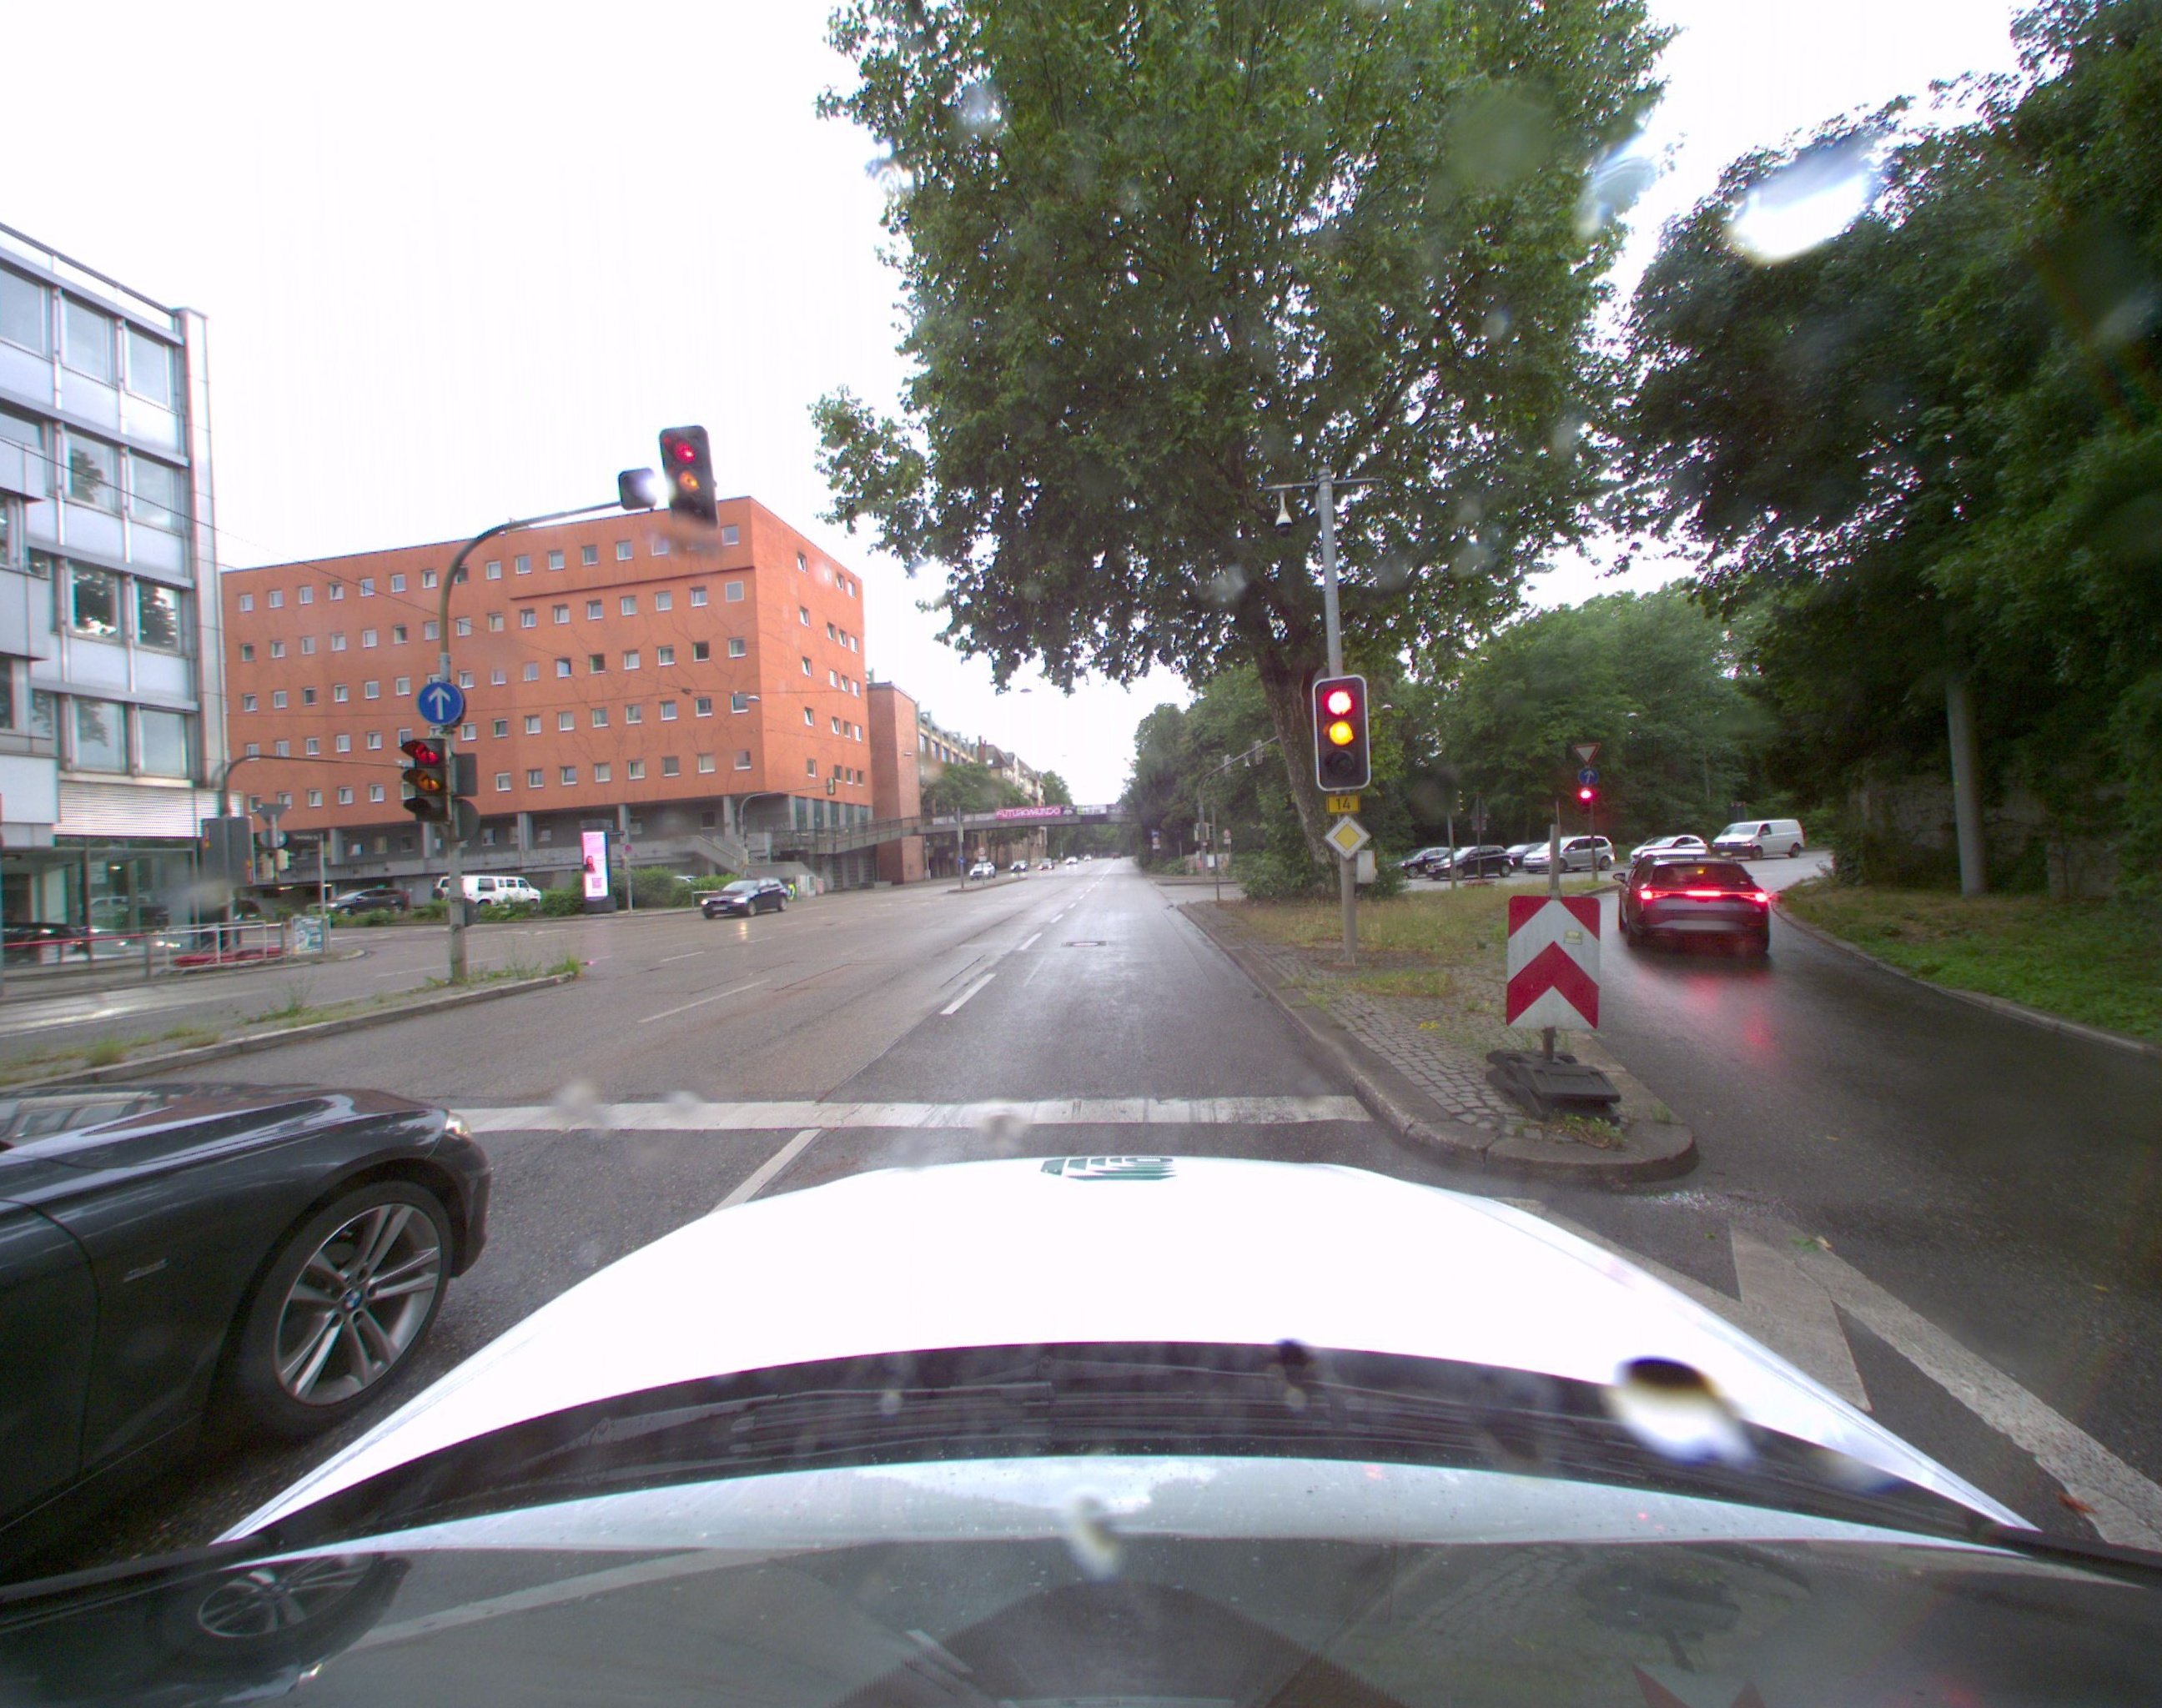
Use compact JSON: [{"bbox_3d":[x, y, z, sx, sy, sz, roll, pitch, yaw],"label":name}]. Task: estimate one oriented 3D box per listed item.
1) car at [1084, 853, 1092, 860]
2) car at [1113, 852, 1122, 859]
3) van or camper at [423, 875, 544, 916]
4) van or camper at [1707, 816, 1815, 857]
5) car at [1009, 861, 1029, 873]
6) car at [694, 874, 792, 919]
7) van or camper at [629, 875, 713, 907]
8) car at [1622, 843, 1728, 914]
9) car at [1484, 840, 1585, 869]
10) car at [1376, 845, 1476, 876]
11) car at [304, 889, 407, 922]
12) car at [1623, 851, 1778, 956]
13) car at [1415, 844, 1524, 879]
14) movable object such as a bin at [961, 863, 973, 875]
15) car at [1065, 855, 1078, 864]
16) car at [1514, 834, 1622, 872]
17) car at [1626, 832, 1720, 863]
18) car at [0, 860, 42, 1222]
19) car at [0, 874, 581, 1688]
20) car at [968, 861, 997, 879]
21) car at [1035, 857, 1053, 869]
[{"bbox_3d":[1.545,0.695,188.590,1.594,1.499,3.715,-4,-1,3],"label":"car"},{"bbox_3d":[8.654,0.379,192.822,1.998,1.643,4.376,-3,0,0],"label":"car"},{"bbox_3d":[-32.824,2.223,44.997,2.113,1.977,5.466,0,-1,9],"label":"van or camper"},{"bbox_3d":[34.694,-0.878,41.569,4.863,1.947,1.895,-1,-1,-18],"label":"van or camper"},{"bbox_3d":[-7.823,1.619,103.116,1.701,1.464,4.047,-3,-1,5],"label":"car"},{"bbox_3d":[-12.766,1.555,31.063,1.678,1.419,4.219,-4,-1,4],"label":"car"},{"bbox_3d":[-24.264,2.176,48.285,3.965,1.627,1.918,-3,0,8],"label":"van or camper"},{"bbox_3d":[14.303,0.484,19.677,1.834,1.448,4.648,2,2,36],"label":"car"},{"bbox_3d":[22.945,0.034,41.216,4.438,1.402,1.821,0,-1,-14],"label":"car"},{"bbox_3d":[16.821,0.313,39.794,4.205,1.440,1.941,0,-1,-14],"label":"car"},{"bbox_3d":[-40.326,2.819,45.390,1.699,1.612,4.097,-1,-1,9],"label":"car"},{"bbox_3d":[10.094,0.666,13.287,1.731,1.403,4.442,1,1,38],"label":"car"},{"bbox_3d":[17.161,0.328,36.024,4.192,1.460,1.784,0,-1,-14],"label":"car"},{"bbox_3d":[-15.113,1.930,107.669,1.277,1.518,1.274,-3,0,3],"label":"movable object such as a bin"},{"bbox_3d":[-1.587,0.986,142.044,1.823,1.393,4.409,-4,-1,3],"label":"car"},{"bbox_3d":[22.573,-0.047,37.812,4.203,1.680,1.898,0,-1,-14],"label":"car"},{"bbox_3d":[28.844,-0.300,39.713,3.857,1.461,1.650,0,-1,-14],"label":"car"},{"bbox_3d":[-6.000,0.847,1.693,1.801,1.656,4.449,0,-1,4],"label":"car"},{"bbox_3d":[-2.924,0.837,0.884,1.769,1.458,4.480,-3,-1,3],"label":"car"},{"bbox_3d":[-9.508,1.542,78.993,1.881,1.610,4.461,-3,-1,4],"label":"car"},{"bbox_3d":[-4.811,1.224,106.707,1.674,1.436,3.868,-3,-1,5],"label":"car"}]
